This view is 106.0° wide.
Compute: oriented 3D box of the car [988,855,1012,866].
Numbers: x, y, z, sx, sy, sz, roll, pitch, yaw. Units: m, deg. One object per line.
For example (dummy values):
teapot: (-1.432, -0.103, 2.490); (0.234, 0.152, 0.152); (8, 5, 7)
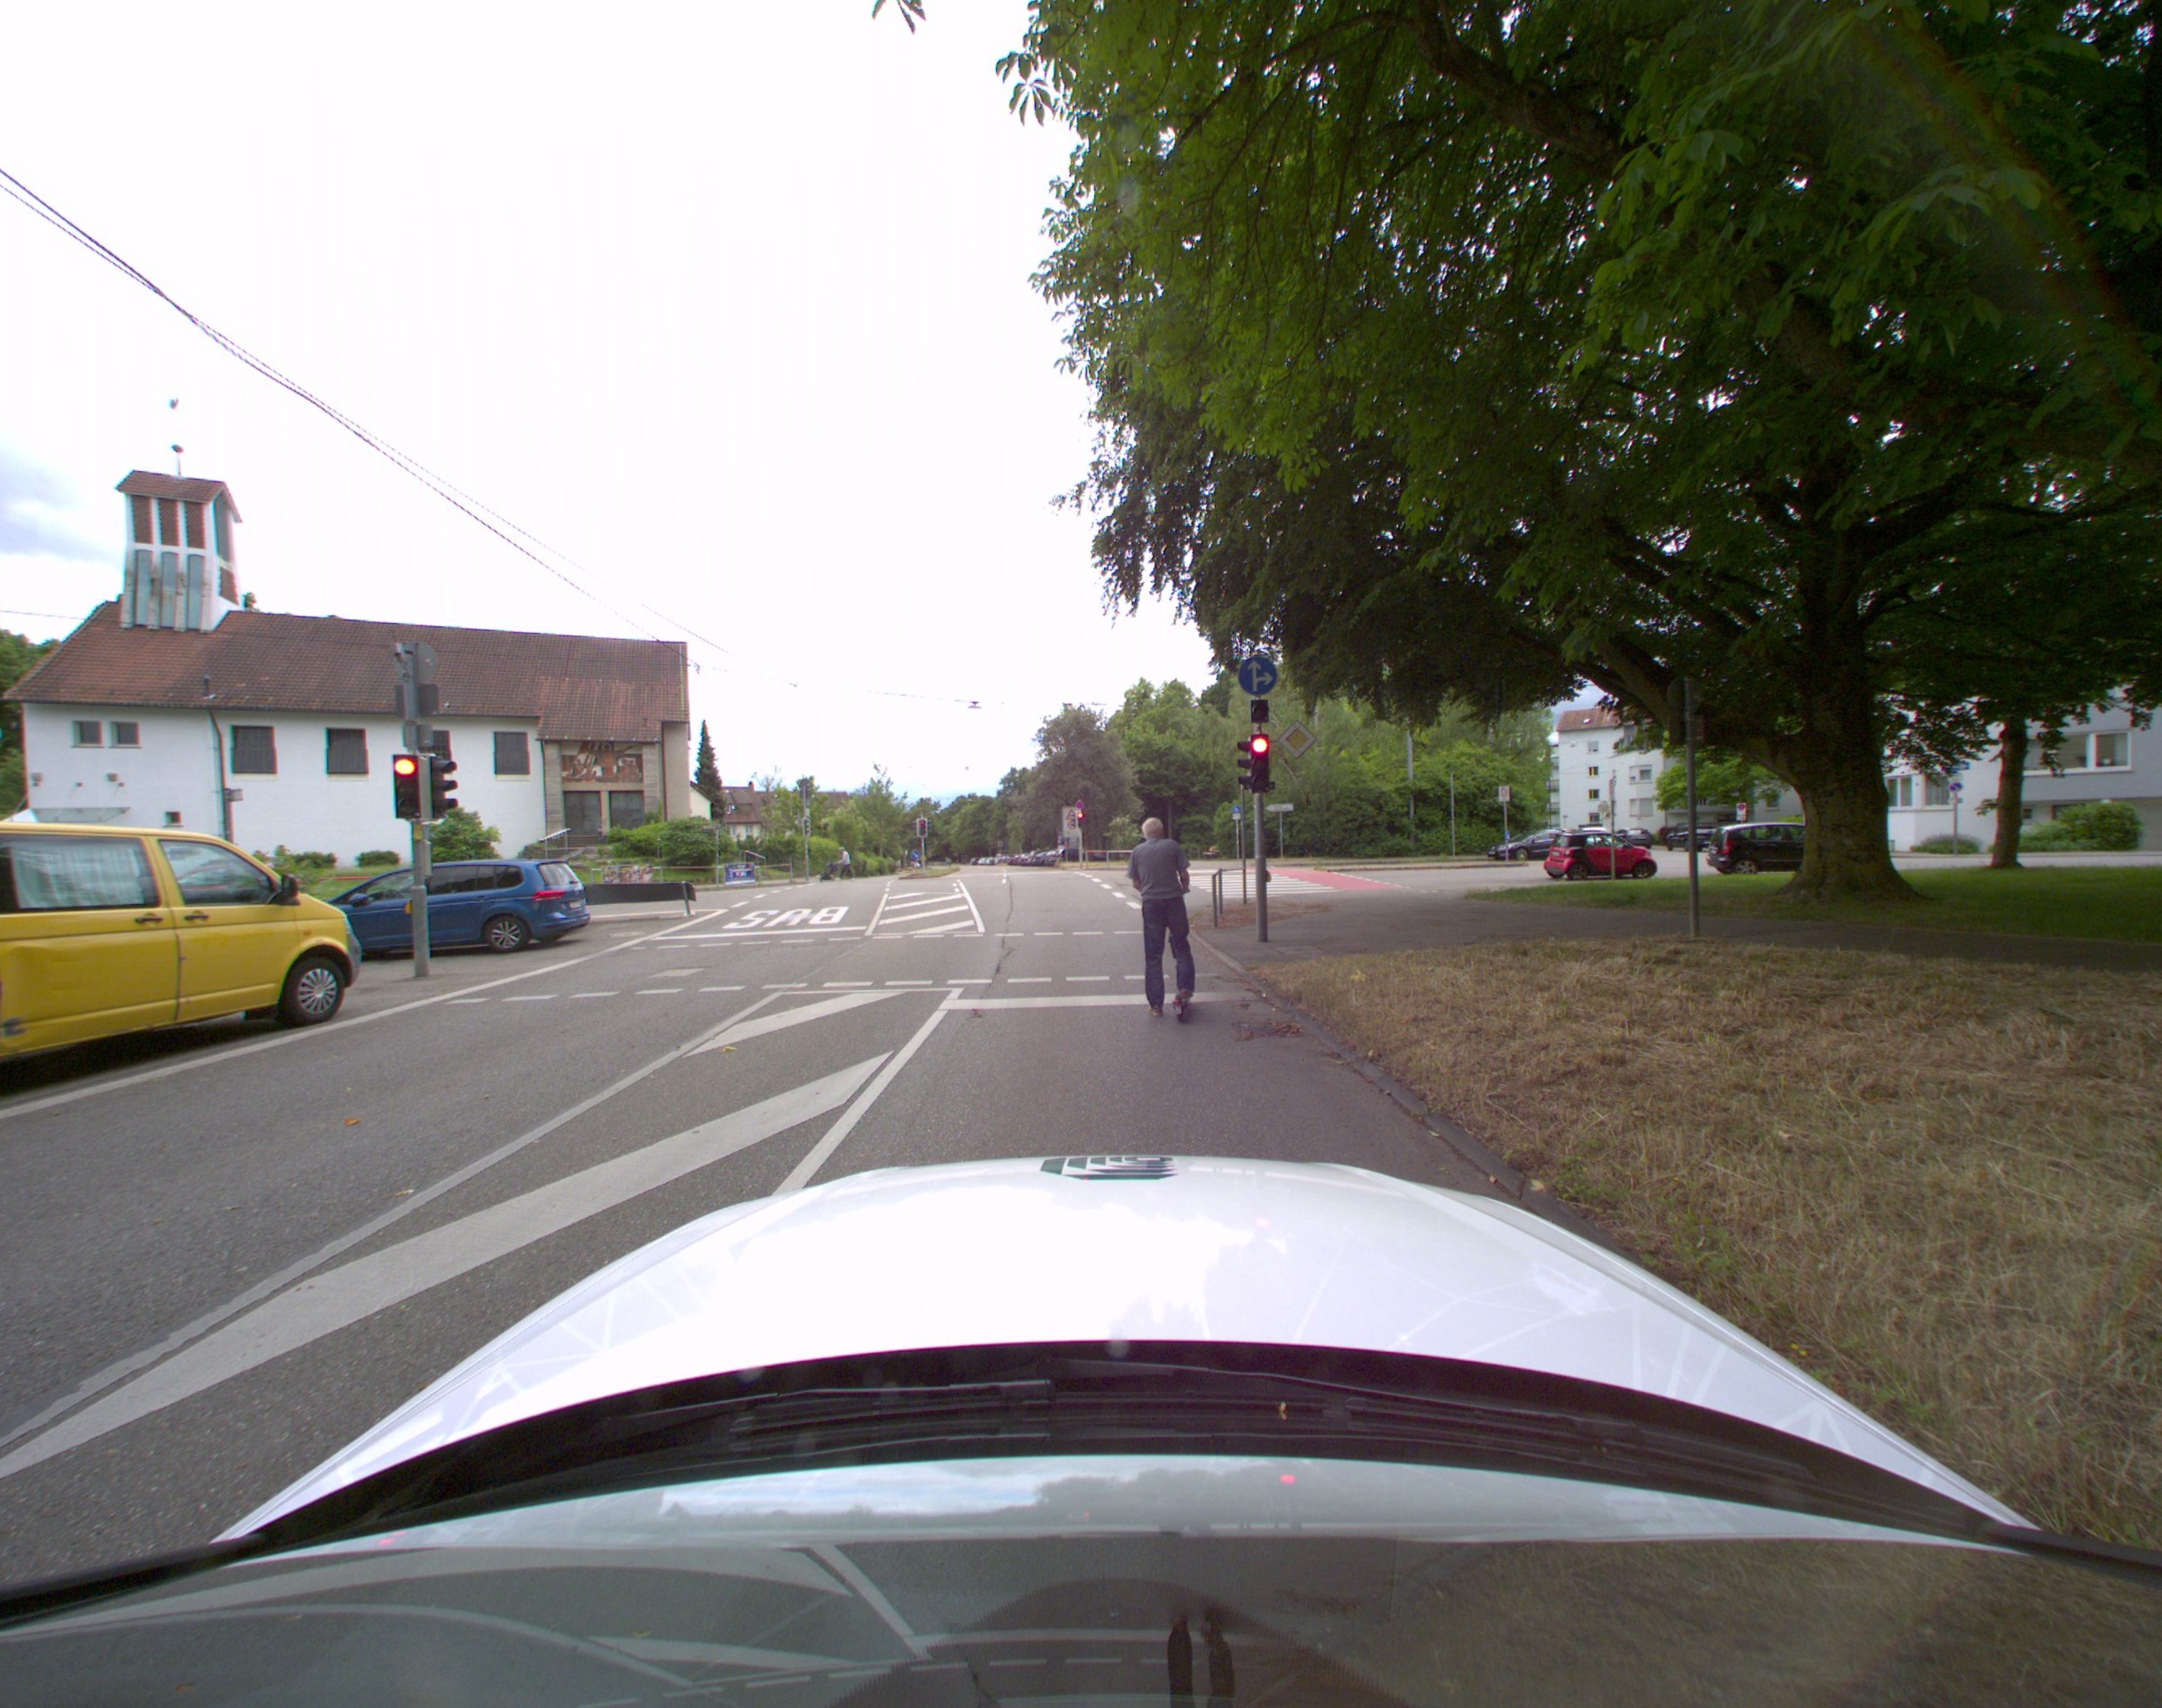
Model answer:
car: (-14.322, 1.145, 143.336); (3.856, 1.610, 1.716); (-3, 0, -21)

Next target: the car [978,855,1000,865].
car: (-17.921, 1.142, 159.000); (3.856, 1.610, 1.716); (-3, 0, -21)

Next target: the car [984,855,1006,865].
car: (-16.338, 1.175, 154.698); (3.856, 1.610, 1.716); (-3, 0, -21)

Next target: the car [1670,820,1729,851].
car: (35.571, -1.073, 46.921); (1.707, 1.610, 3.875); (-3, 1, 22)

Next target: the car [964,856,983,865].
car: (-23.309, 1.451, 176.443); (3.856, 1.610, 1.716); (-3, 0, -21)

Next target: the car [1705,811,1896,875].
car: (20.833, -0.301, 23.796); (3.805, 1.610, 1.739); (-3, 1, 27)

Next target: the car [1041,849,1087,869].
car: (-1.577, 0.433, 75.007); (3.854, 1.610, 1.717); (-3, 0, -19)

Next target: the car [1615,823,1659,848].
car: (38.958, -1.280, 57.132); (1.707, 1.610, 3.875); (-3, 1, 22)

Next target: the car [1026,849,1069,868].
car: (-3.274, 0.471, 79.563); (3.856, 1.610, 1.716); (-3, 0, -21)

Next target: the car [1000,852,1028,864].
car: (-10.118, 0.635, 122.351); (3.856, 1.610, 1.716); (-3, 0, -21)

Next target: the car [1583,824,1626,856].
car: (28.788, -0.793, 44.888); (1.706, 1.610, 3.878); (-3, 1, 30)

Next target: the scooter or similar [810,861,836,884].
scooter or similar: (-12.777, 0.917, 40.356); (1.109, 1.081, 0.575); (-2, 0, -13)

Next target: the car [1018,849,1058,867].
car: (-4.595, 0.424, 86.949); (3.856, 1.610, 1.716); (-3, 0, -21)

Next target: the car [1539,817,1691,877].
car: (16.526, -0.213, 25.354); (3.499, 1.610, 1.732); (-3, 0, 7)

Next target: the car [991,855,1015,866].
car: (-13.383, 1.136, 139.636); (3.856, 1.610, 1.716); (-3, 0, -21)

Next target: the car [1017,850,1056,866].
car: (-4.927, 0.431, 89.371); (3.856, 1.610, 1.716); (-3, 0, -21)

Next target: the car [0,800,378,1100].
car: (-8.299, 0.678, 6.336); (1.880, 2.013, 4.558); (-2, 0, -5)

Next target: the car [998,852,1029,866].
car: (-9.045, 0.682, 109.347); (3.856, 1.610, 1.716); (-3, 0, -21)

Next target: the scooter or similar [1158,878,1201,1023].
scooter or similar: (0.918, 0.836, 7.490); (0.280, 1.178, 1.180); (-2, 0, 10)

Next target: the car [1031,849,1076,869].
car: (-2.587, 0.461, 77.003); (3.857, 1.610, 1.715); (-3, 0, -22)

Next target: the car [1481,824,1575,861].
car: (21.113, -0.565, 38.597); (3.498, 1.530, 1.732); (-3, 0, 8)

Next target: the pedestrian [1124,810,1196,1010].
pedestrian: (0.755, 0.515, 7.671); (0.569, 1.813, 0.421); (-2, 0, 10)

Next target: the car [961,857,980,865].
car: (-24.222, 1.543, 178.804); (3.856, 1.610, 1.716); (-3, 0, -21)

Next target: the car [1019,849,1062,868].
car: (-4.044, 0.447, 81.618); (3.856, 1.610, 1.716); (-3, 0, -21)

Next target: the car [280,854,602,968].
car: (-11.064, 0.911, 14.422); (3.992, 1.610, 1.810); (-3, 0, -14)

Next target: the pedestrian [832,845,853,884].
pedestrian: (-11.864, 0.510, 40.592); (0.885, 1.862, 0.572); (-2, 0, -13)
